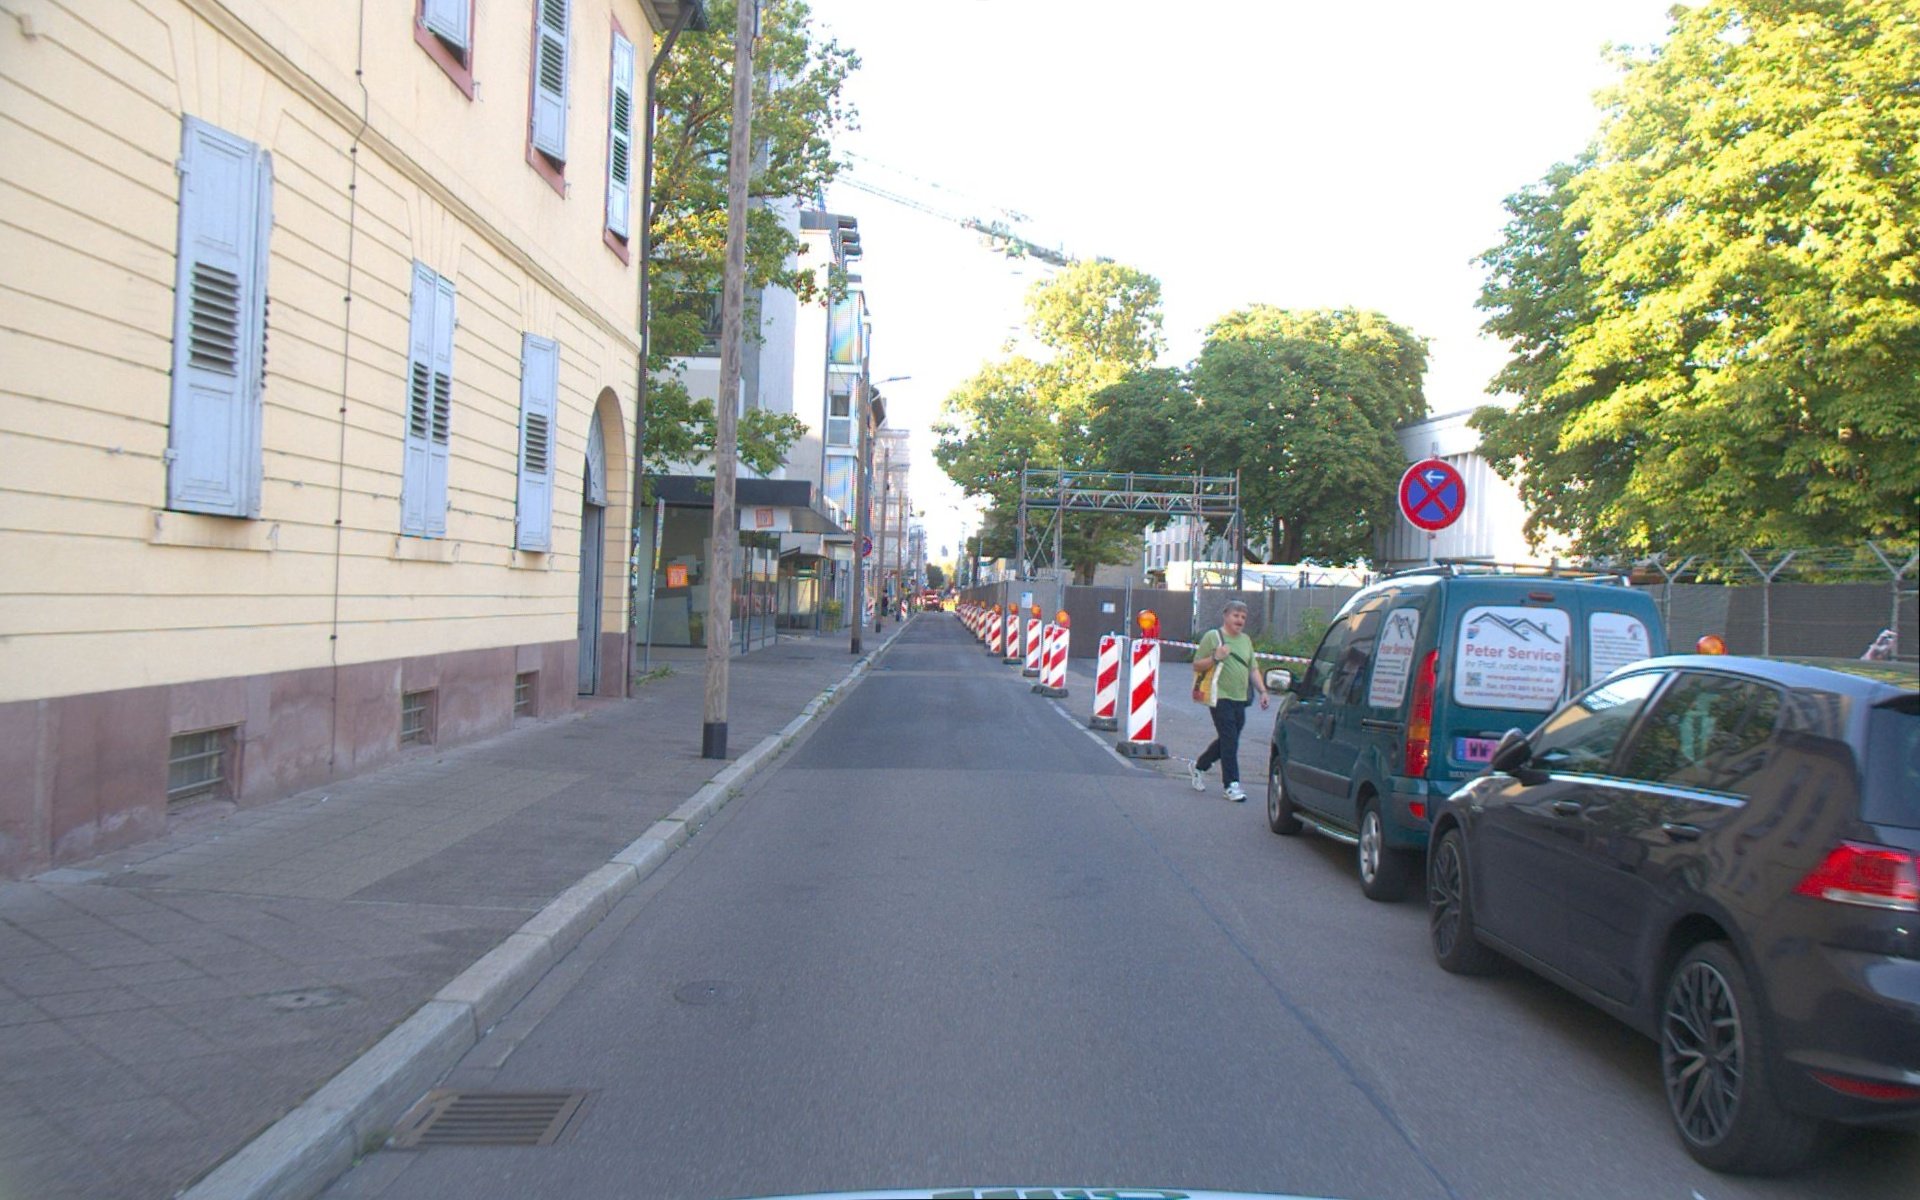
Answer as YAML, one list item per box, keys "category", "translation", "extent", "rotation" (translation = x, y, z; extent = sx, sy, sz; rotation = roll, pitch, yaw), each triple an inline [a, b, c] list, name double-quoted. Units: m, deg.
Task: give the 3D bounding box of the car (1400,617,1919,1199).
- category: "car"
  translation: [3.004, 0.868, 6.033]
  extent: [1.657, 1.485, 4.099]
  rotation: [2, 0, 0]

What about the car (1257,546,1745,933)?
- category: "car"
  translation: [3.091, 0.698, 10.349]
  extent: [1.678, 1.881, 4.022]
  rotation: [2, 0, 0]

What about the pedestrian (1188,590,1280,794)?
- category: "pedestrian"
  translation: [2.322, 0.760, 14.084]
  extent: [0.601, 1.657, 0.818]
  rotation: [2, 0, 2]

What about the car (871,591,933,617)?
- category: "car"
  translation: [-3.638, 0.243, 103.705]
  extent: [3.673, 1.485, 1.695]
  rotation: [2, 0, -8]

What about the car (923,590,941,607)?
- category: "car"
  translation: [-3.025, -0.139, 175.967]
  extent: [1.821, 1.691, 3.999]
  rotation: [2, 0, -1]
